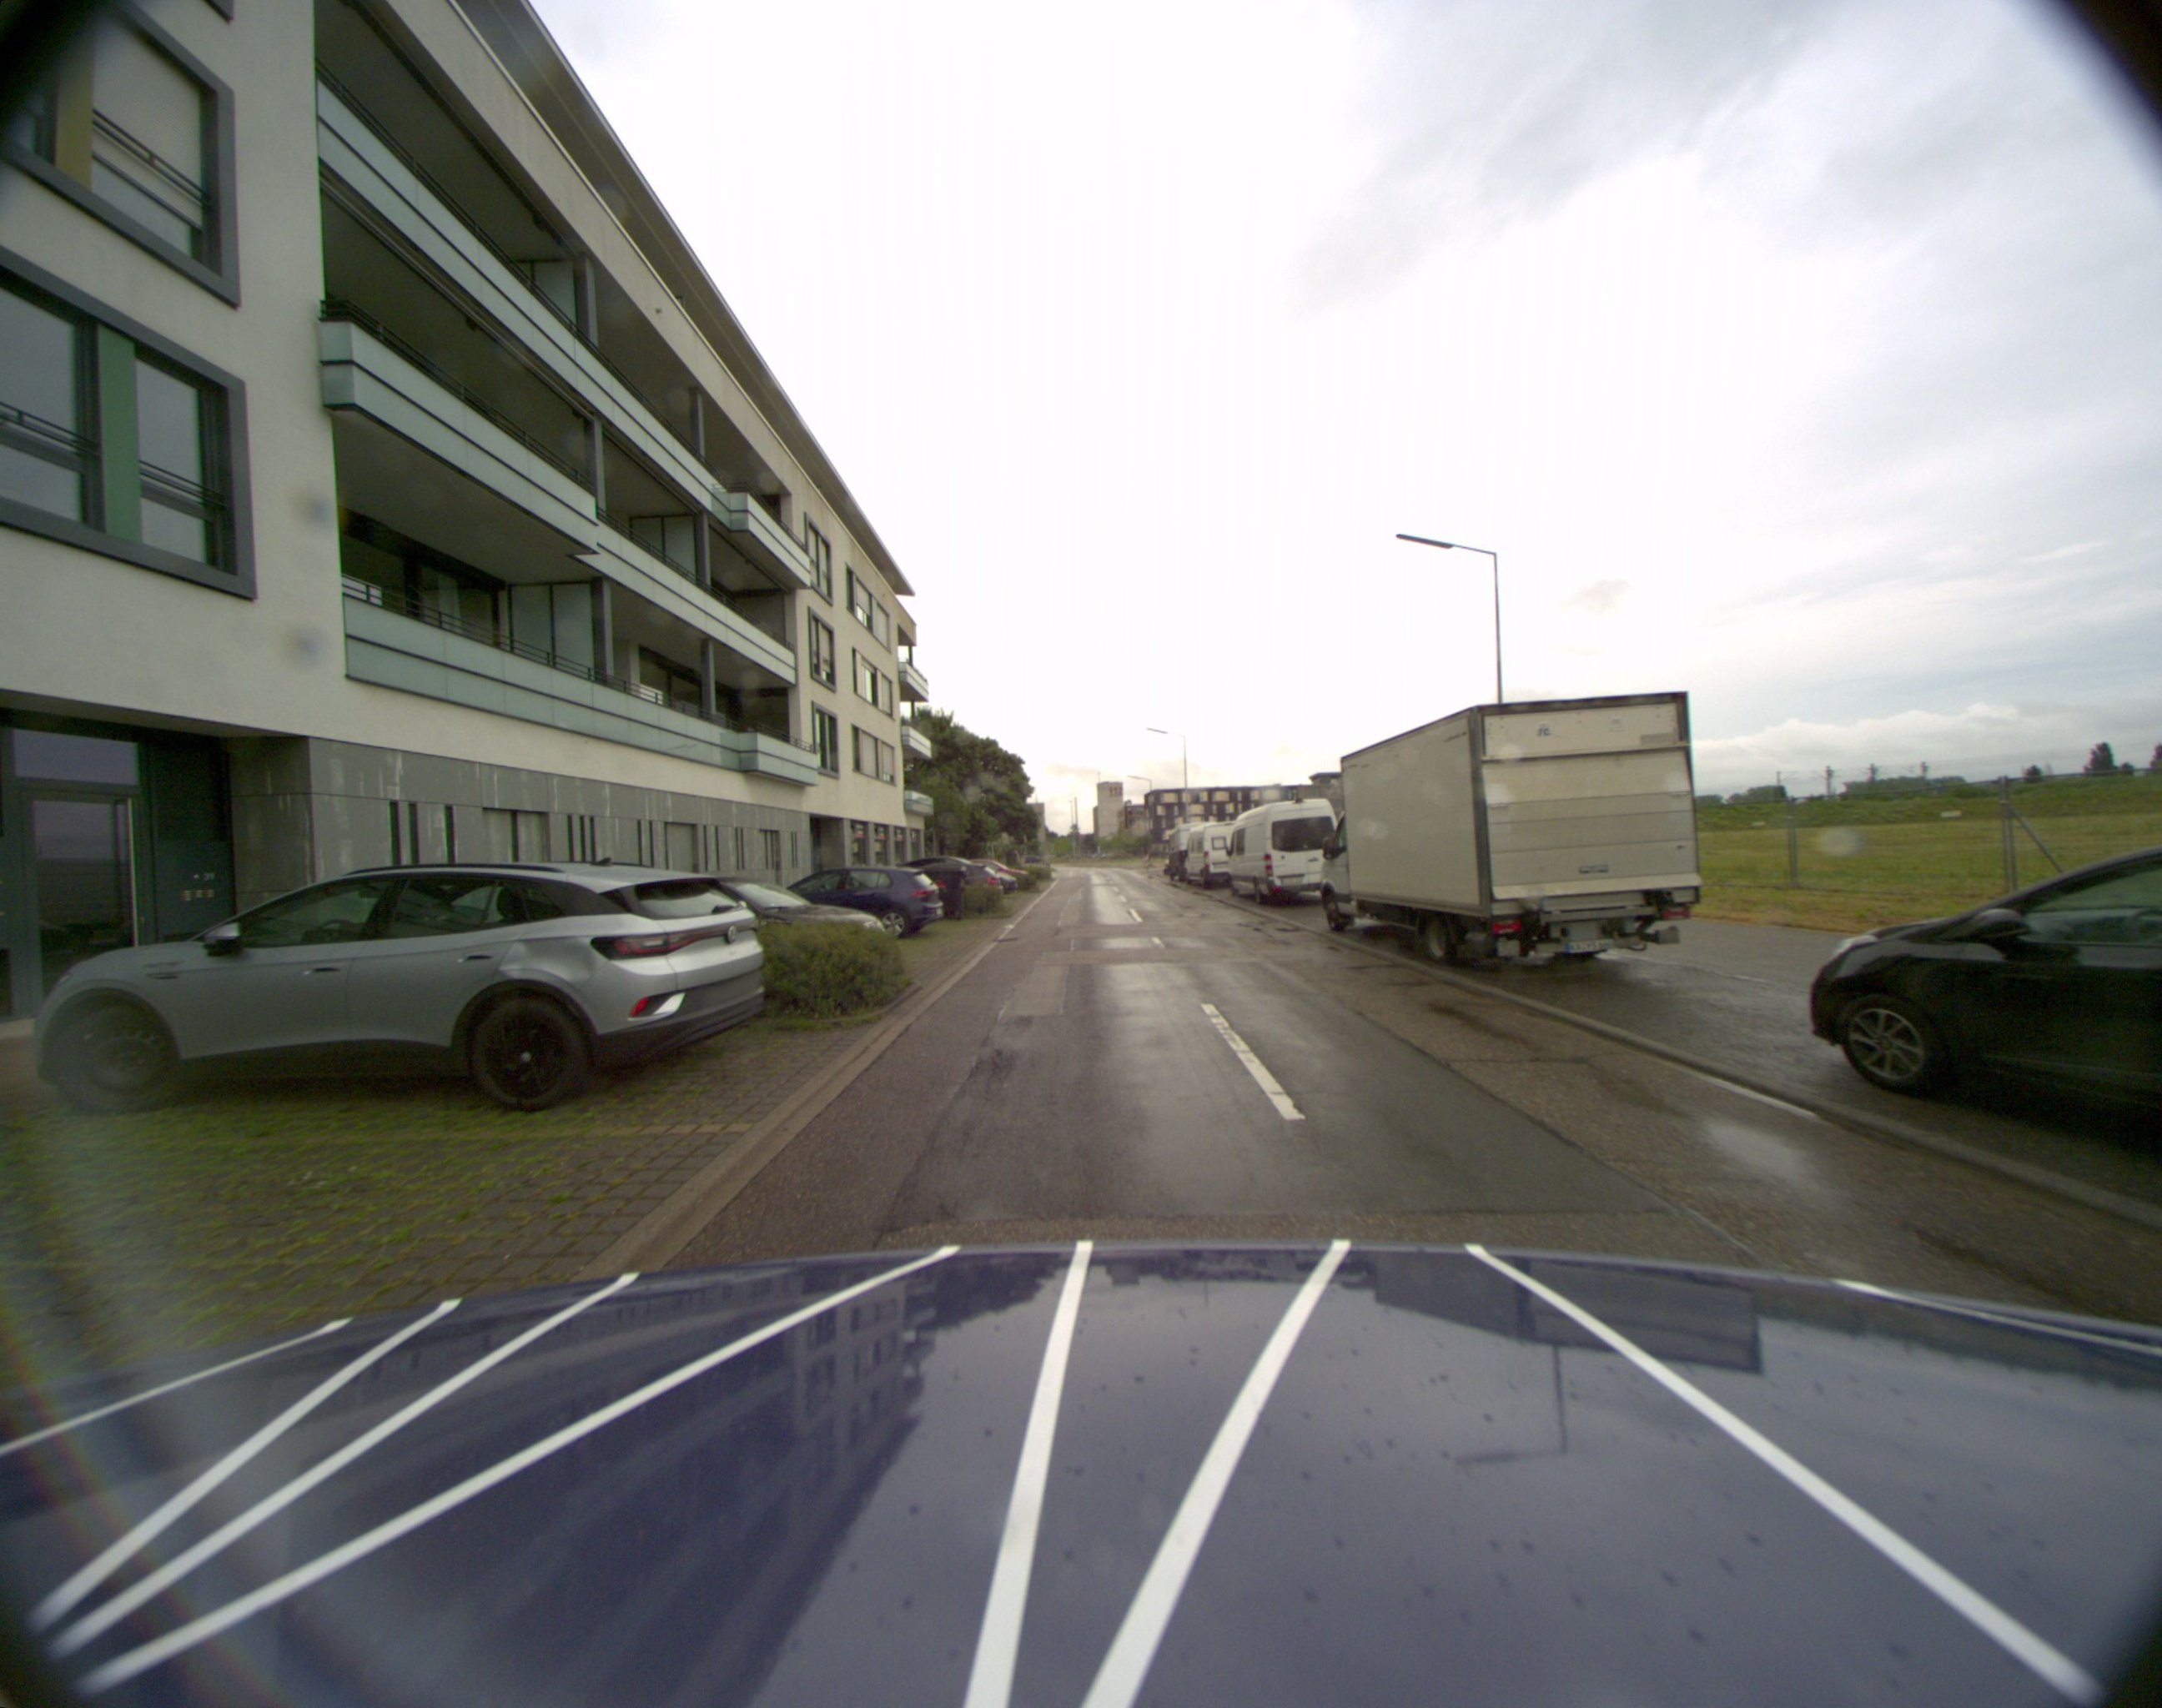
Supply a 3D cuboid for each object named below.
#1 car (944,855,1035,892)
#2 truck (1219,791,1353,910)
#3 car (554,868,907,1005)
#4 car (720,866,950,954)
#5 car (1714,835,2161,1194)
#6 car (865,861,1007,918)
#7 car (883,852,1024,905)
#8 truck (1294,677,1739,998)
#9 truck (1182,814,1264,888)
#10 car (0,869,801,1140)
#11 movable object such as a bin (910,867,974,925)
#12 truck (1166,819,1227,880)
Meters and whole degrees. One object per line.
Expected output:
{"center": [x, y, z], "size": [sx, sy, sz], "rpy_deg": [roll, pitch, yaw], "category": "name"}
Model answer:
{"center": [-4.251, 0.898, 35.670], "size": [3.997, 1.478, 1.786], "rpy_deg": [-3, 1, 0], "category": "car"}
{"center": [5.604, -0.103, 21.846], "size": [2.046, 2.750, 6.737], "rpy_deg": [-4, 0, 2], "category": "truck"}
{"center": [-4.685, 1.078, 10.539], "size": [3.996, 1.523, 1.778], "rpy_deg": [-3, 1, 4], "category": "car"}
{"center": [-4.924, 1.098, 15.619], "size": [4.100, 1.469, 1.711], "rpy_deg": [-3, 1, 0], "category": "car"}
{"center": [5.362, 0.666, 3.354], "size": [1.676, 1.454, 4.156], "rpy_deg": [-3, 0, 1], "category": "car"}
{"center": [-4.421, 1.069, 23.592], "size": [3.997, 1.478, 1.786], "rpy_deg": [-3, 1, 0], "category": "car"}
{"center": [-4.601, 0.883, 27.956], "size": [4.796, 1.654, 1.867], "rpy_deg": [-3, 1, 0], "category": "car"}
{"center": [5.319, -0.183, 10.985], "size": [2.442, 3.050, 6.699], "rpy_deg": [-4, 0, 0], "category": "truck"}
{"center": [5.660, -0.130, 31.196], "size": [2.180, 2.591, 6.131], "rpy_deg": [-3, 0, 1], "category": "truck"}
{"center": [-4.751, 0.976, 5.768], "size": [4.429, 1.592, 2.083], "rpy_deg": [-1, 1, 3], "category": "car"}
{"center": [-3.504, 1.053, 19.252], "size": [1.352, 1.330, 0.976], "rpy_deg": [-4, 1, 0], "category": "movable object such as a bin"}
{"center": [5.736, -0.217, 38.299], "size": [2.180, 2.730, 5.289], "rpy_deg": [-3, 0, 1], "category": "truck"}
